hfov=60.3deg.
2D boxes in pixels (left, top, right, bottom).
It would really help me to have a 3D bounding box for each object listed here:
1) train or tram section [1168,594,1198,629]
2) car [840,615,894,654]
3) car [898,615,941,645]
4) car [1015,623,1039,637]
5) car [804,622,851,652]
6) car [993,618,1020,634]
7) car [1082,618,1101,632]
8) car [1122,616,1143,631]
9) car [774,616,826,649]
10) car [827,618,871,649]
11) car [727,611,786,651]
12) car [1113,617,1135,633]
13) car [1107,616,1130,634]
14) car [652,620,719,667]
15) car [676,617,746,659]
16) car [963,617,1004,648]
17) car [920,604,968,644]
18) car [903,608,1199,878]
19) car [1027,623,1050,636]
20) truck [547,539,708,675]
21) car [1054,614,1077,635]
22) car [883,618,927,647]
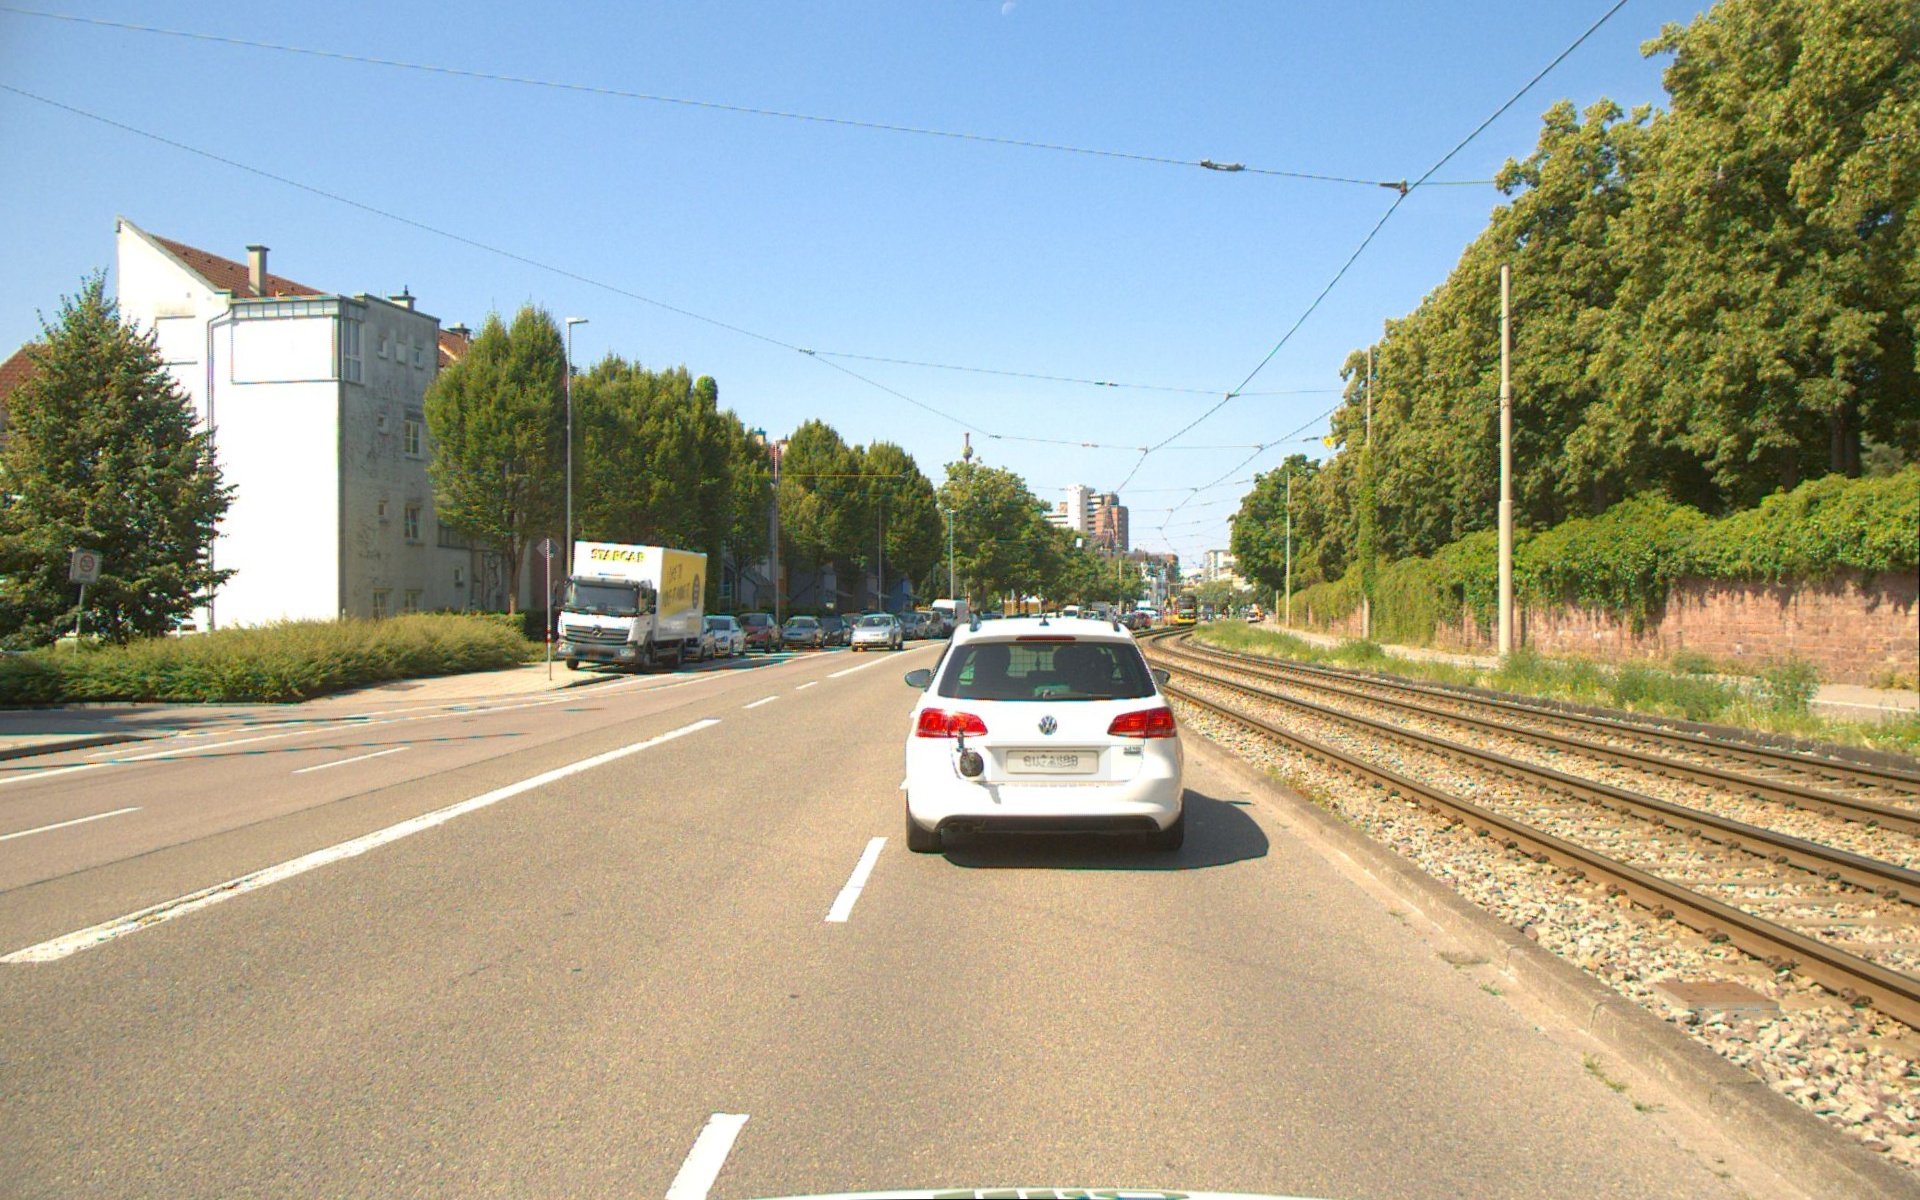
[{"bbox_3d":[25.686,1.349,190.144,2.457,3.813,13.321,-1,-1,12],"label":"train or tram section"},{"bbox_3d":[-3.656,1.345,65.658,1.624,1.445,4.311,-2,-1,3],"label":"car"},{"bbox_3d":[-2.759,2.048,113.580,1.878,1.982,5.358,2,-1,10],"label":"car"},{"bbox_3d":[6.644,2.948,164.367,1.663,1.376,4.003,-1,-1,14],"label":"car"},{"bbox_3d":[-6.867,1.916,86.040,1.686,1.500,4.717,1,-1,5],"label":"car"},{"bbox_3d":[4.307,2.410,151.680,1.663,1.442,4.003,-1,-1,14],"label":"car"},{"bbox_3d":[17.312,3.299,217.906,1.787,1.900,4.728,-1,-1,14],"label":"car"},{"bbox_3d":[16.792,2.305,161.320,1.762,1.486,4.003,-1,-1,10],"label":"car"},{"bbox_3d":[-7.689,1.570,79.682,1.743,1.509,4.859,1,-1,3],"label":"car"},{"bbox_3d":[-6.146,1.858,91.986,1.680,1.653,4.315,1,-1,6],"label":"car"},{"bbox_3d":[-8.443,1.278,68.954,1.694,1.579,4.320,1,-1,3],"label":"car"},{"bbox_3d":[15.344,2.312,154.692,1.762,1.486,4.003,0,0,10],"label":"car"},{"bbox_3d":[14.169,2.247,148.101,1.762,1.534,4.003,0,0,10],"label":"car"},{"bbox_3d":[-9.236,1.434,55.896,1.576,1.510,3.636,1,-1,0],"label":"car"},{"bbox_3d":[-9.093,1.378,60.607,1.721,1.454,4.282,1,-1,2],"label":"car"},{"bbox_3d":[1.266,1.690,86.610,1.762,1.534,4.003,0,0,6],"label":"car"},{"bbox_3d":[-1.132,1.761,121.835,1.952,2.761,7.162,2,-1,11],"label":"car"},{"bbox_3d":[0.516,0.818,11.565,1.656,1.476,4.458,1,0,0],"label":"car"},{"bbox_3d":[8.041,3.022,169.503,1.663,1.376,4.003,-1,-1,14],"label":"car"},{"bbox_3d":[-9.556,0.233,48.568,2.611,3.592,8.592,1,-1,2],"label":"truck"},{"bbox_3d":[12.661,2.927,198.119,1.840,2.458,5.120,-1,-1,14],"label":"car"},{"bbox_3d":[-3.560,2.099,107.976,1.762,1.755,4.913,2,0,11],"label":"car"}]
